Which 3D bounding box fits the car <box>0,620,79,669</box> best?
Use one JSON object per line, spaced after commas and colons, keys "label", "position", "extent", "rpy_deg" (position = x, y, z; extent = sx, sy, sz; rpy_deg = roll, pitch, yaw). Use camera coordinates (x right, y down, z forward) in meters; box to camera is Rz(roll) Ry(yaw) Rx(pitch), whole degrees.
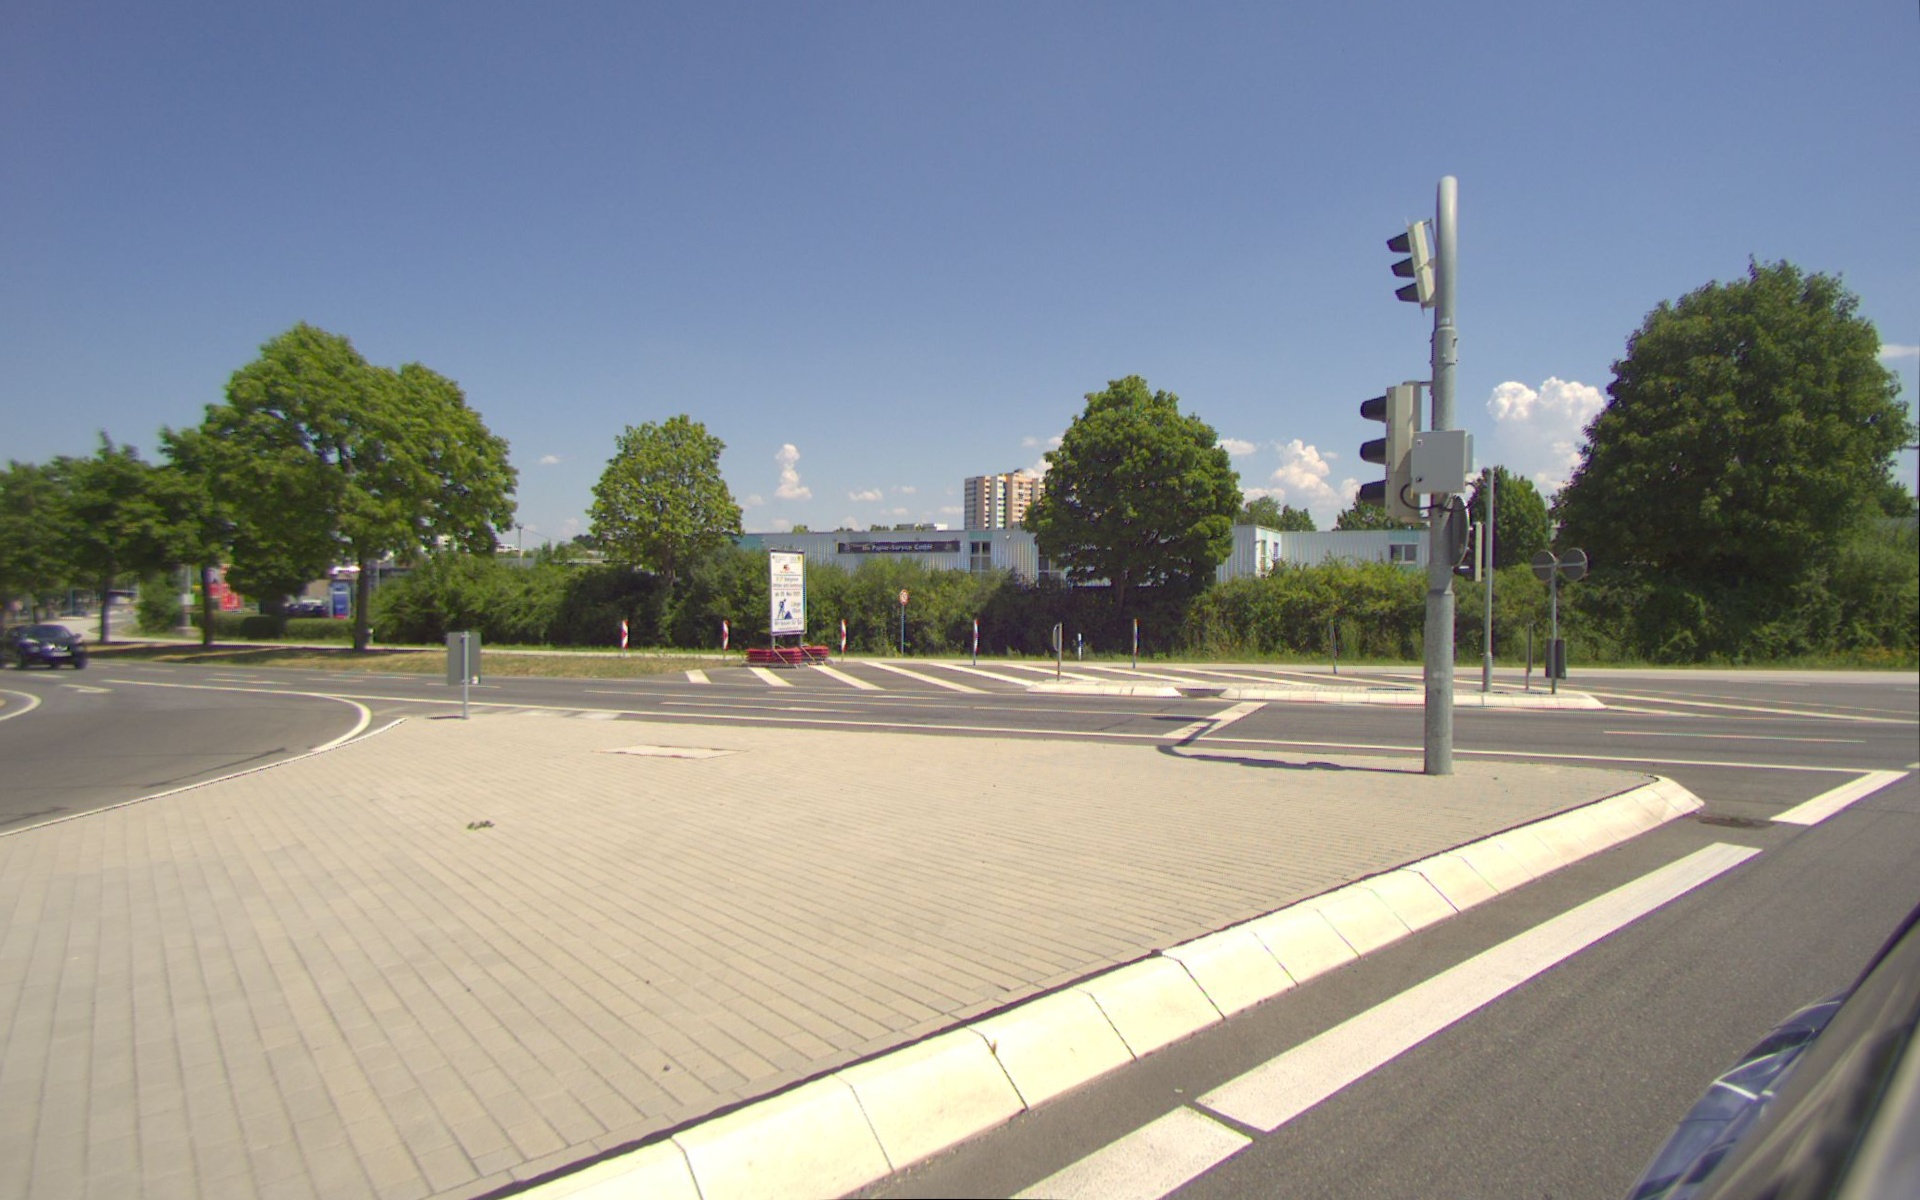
{"label": "car", "position": [-32.073, 1.505, 35.072], "extent": [3.978, 1.610, 1.644], "rpy_deg": [-1, -1, 38]}
